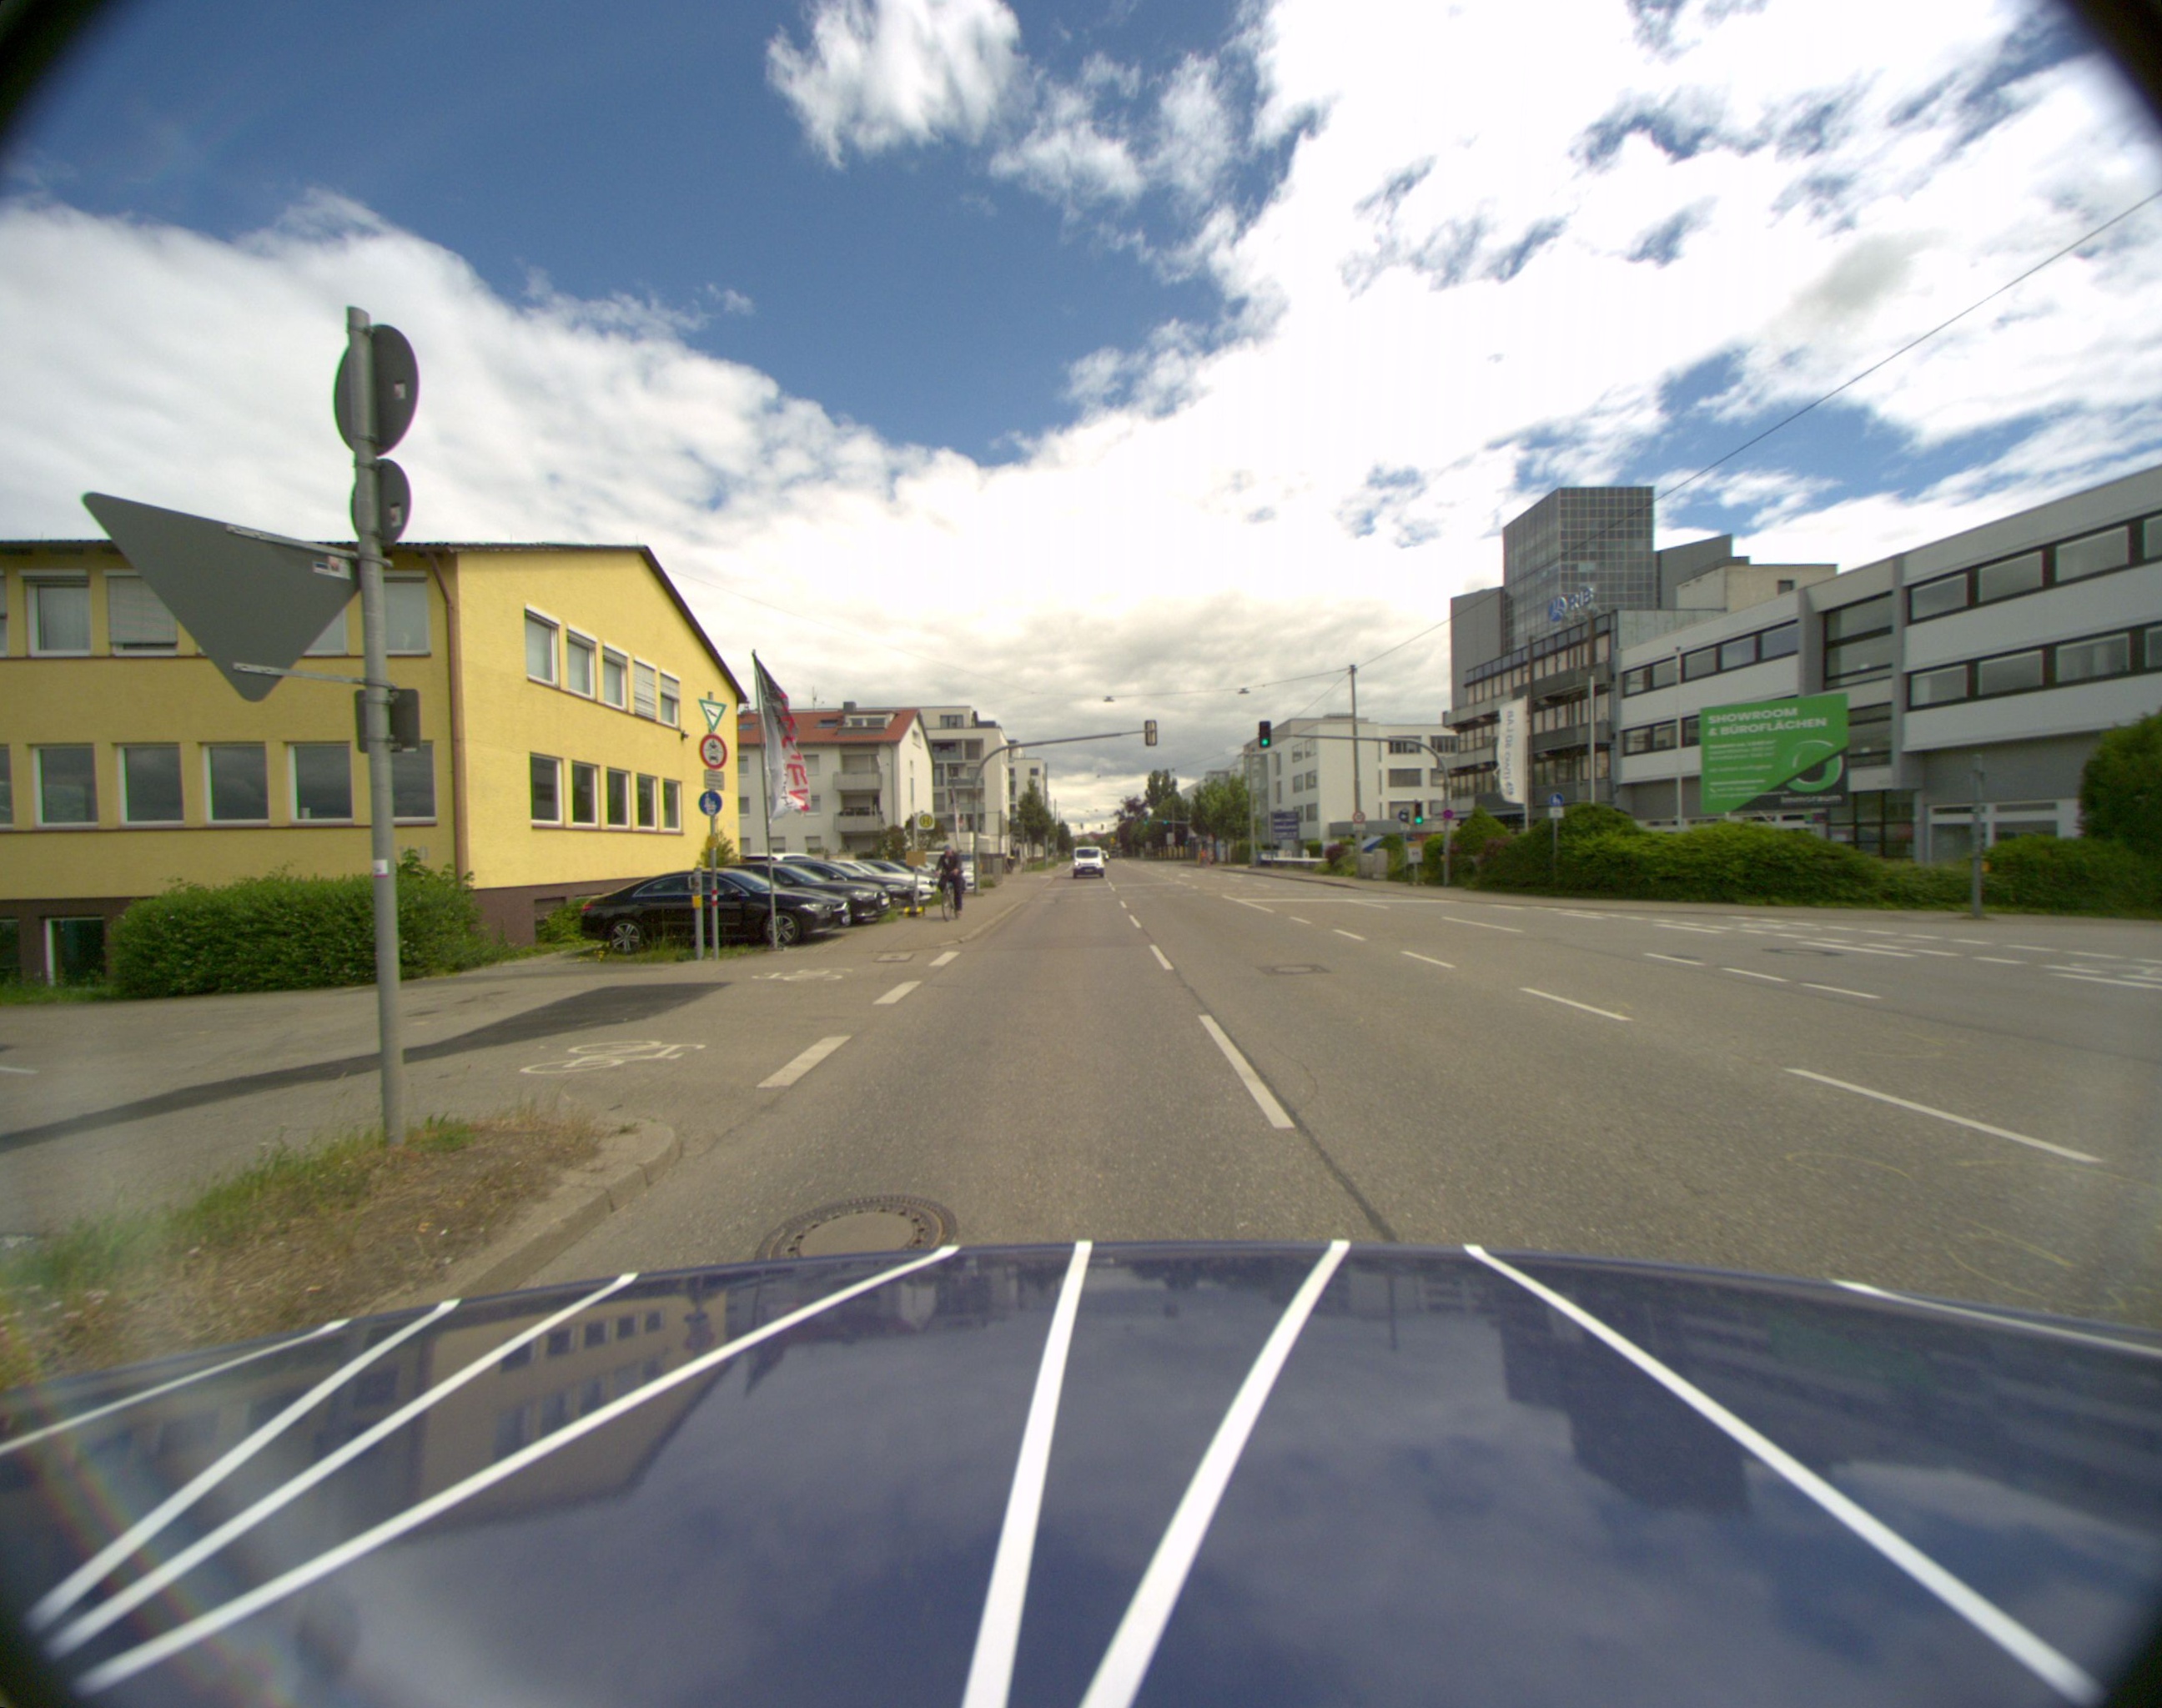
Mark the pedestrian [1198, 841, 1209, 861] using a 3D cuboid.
[{"bbox_3d":[12.816,-0.341,79.651,0.724,2.002,0.812,-1,3,43],"label":"pedestrian"}]

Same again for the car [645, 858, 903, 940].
[{"bbox_3d":[-6.692,0.952,16.983,4.864,1.422,2.038,-3,1,1],"label":"car"}]

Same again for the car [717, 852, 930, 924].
[{"bbox_3d":[-6.472,0.826,19.514,4.688,1.485,2.015,-3,1,1],"label":"car"}]

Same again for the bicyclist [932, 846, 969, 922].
[{"bbox_3d":[-2.976,0.662,17.381,0.639,1.666,0.890,2,1,0],"label":"bicyclist"}]

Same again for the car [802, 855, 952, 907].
[{"bbox_3d":[-6.631,0.851,25.113,4.380,1.396,1.988,-3,1,-1],"label":"car"}]

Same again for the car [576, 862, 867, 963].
[{"bbox_3d":[-6.441,1.021,14.073,4.333,1.391,2.003,-3,3,-2],"label":"car"}]

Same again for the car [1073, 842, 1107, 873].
[{"bbox_3d":[0.567,0.206,50.841,1.999,1.906,3.998,-2,2,-2],"label":"car"}]

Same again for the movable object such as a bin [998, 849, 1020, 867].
[{"bbox_3d":[-5.707,0.308,59.917,1.321,1.353,1.252,-1,2,16],"label":"movable object such as a bin"}]

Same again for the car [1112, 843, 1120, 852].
[{"bbox_3d":[9.724,-1.869,210.725,2.148,2.458,6.072,0,1,1],"label":"car"}]

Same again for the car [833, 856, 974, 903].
[{"bbox_3d":[-6.435,0.913,27.997,4.671,1.485,2.034,-2,1,0],"label":"car"}]

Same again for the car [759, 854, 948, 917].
[{"bbox_3d":[-6.524,0.871,22.230,4.812,1.472,2.032,-3,1,1],"label":"car"}]

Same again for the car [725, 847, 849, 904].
[{"bbox_3d":[-10.866,0.718,28.603,1.979,1.811,5.032,-1,2,10],"label":"car"}]

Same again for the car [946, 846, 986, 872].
[{"bbox_3d":[-7.217,0.303,48.149,1.880,1.536,4.520,-1,1,-1],"label":"car"}]

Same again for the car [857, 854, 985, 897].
[{"bbox_3d":[-6.402,0.853,30.771,4.708,1.484,2.045,-2,0,0],"label":"car"}]

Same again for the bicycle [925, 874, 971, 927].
[{"bbox_3d":[-2.998,1.022,17.295,0.639,1.057,1.977,2,1,0],"label":"bicycle"}]
